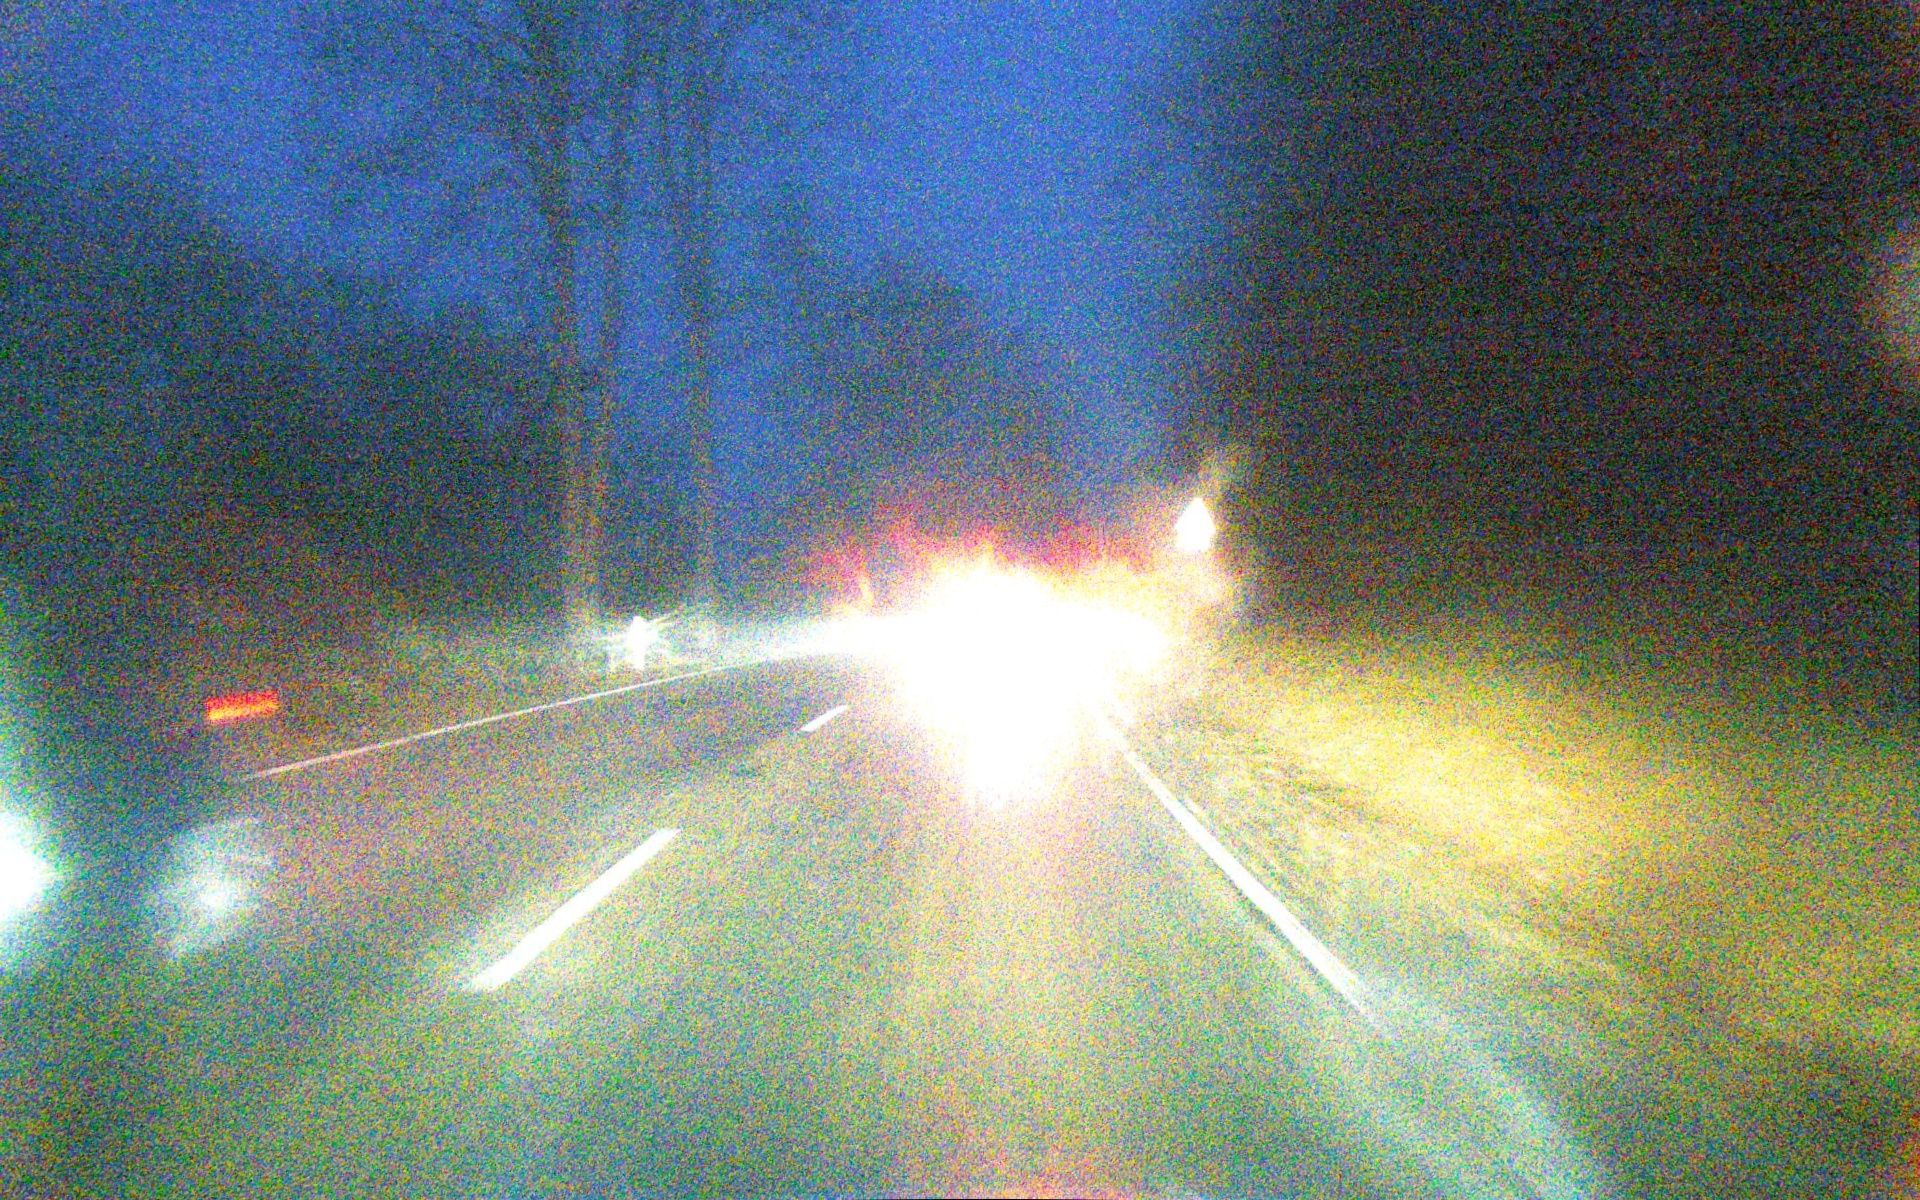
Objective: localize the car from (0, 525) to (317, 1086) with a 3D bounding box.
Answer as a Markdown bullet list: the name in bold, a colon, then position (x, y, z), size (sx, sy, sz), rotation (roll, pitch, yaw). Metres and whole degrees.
- **car**: position (-3.551, 0.570, 4.853), size (1.729, 1.569, 4.148), rotation (0, 1, -1)

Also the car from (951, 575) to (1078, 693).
- **car**: position (0.867, 0.535, 28.662), size (1.953, 1.838, 3.916), rotation (-2, 0, -1)
